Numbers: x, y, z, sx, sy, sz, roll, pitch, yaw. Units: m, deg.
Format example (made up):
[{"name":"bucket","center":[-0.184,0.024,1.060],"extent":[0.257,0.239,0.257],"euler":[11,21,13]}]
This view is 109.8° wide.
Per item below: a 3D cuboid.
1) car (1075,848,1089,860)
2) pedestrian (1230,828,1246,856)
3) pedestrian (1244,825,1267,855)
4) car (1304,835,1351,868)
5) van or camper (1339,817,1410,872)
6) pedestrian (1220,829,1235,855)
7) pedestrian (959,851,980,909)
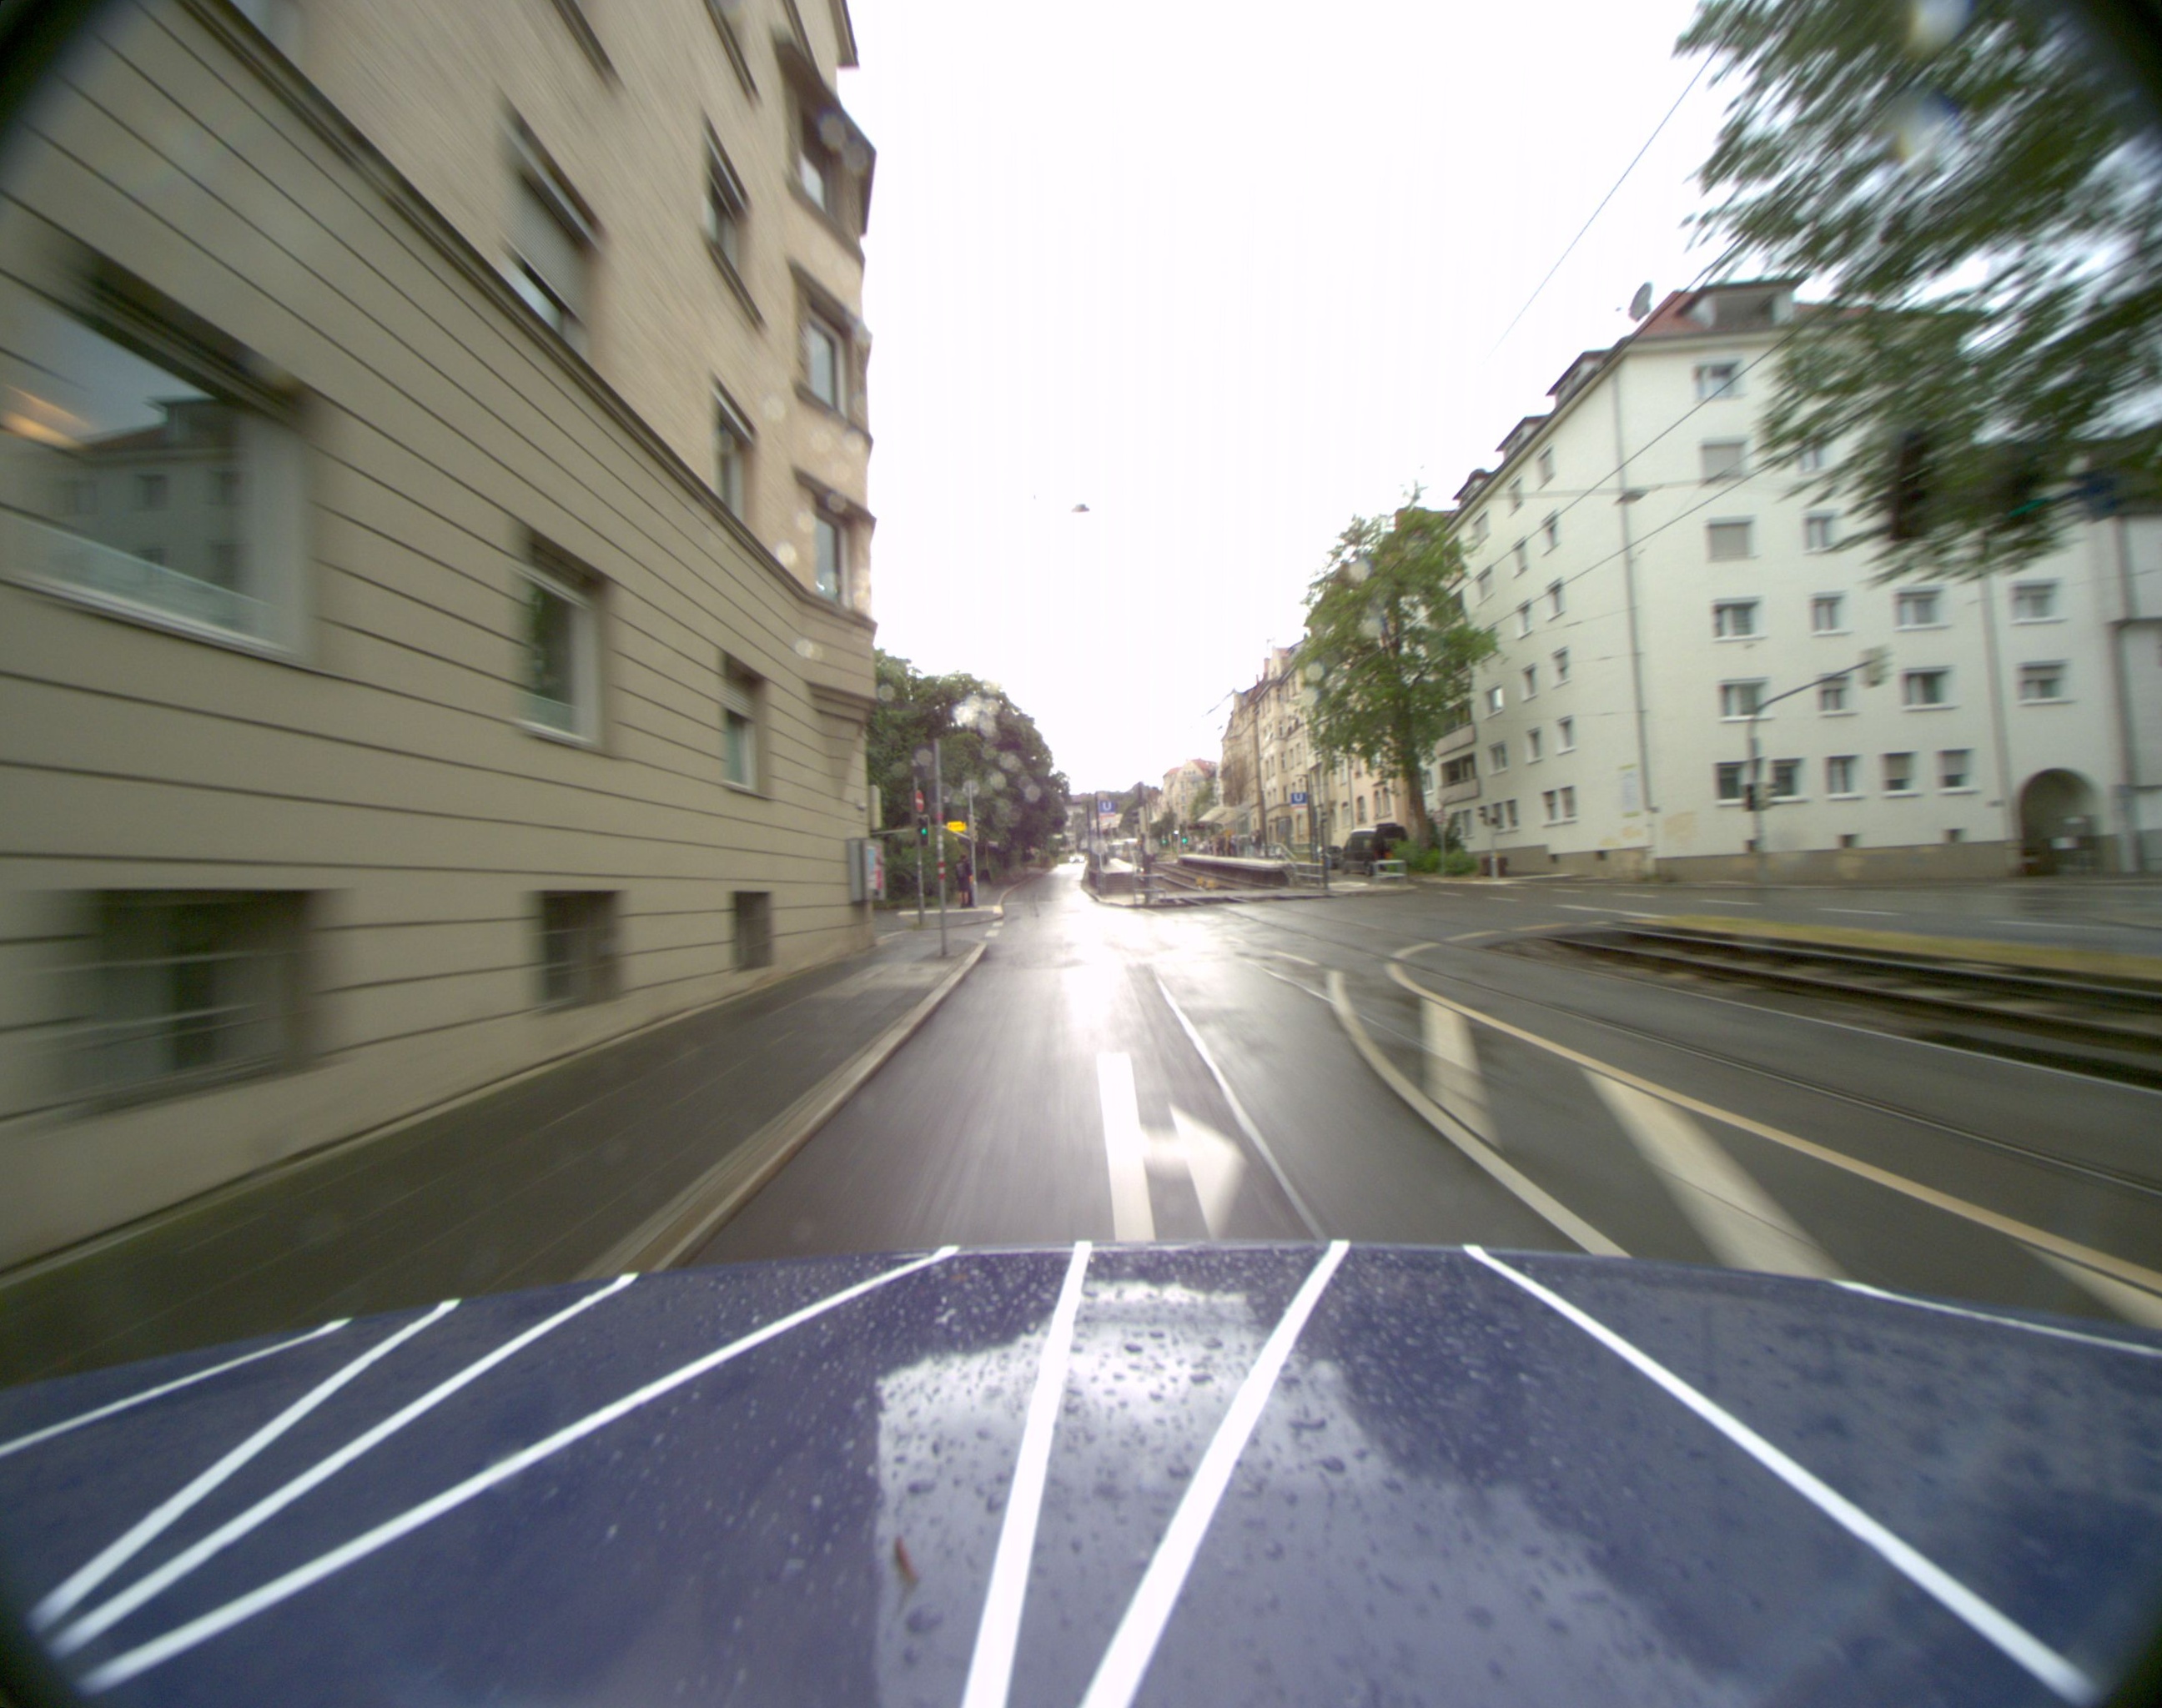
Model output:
[{"name":"car","center":[0.175,-0.041,108.581],"extent":[1.998,1.652,4.000],"euler":[-3,0,1]},{"name":"pedestrian","center":[10.611,-0.837,51.421],"extent":[0.903,1.841,0.860],"euler":[-3,1,3]},{"name":"pedestrian","center":[10.690,-0.834,46.661],"extent":[1.120,1.772,0.965],"euler":[-3,1,2]},{"name":"car","center":[16.577,-0.177,51.308],"extent":[1.998,2.002,4.001],"euler":[-3,0,3]},{"name":"van or camper","center":[16.012,-0.515,41.794],"extent":[1.998,2.782,5.213],"euler":[-2,1,3]},{"name":"pedestrian","center":[10.621,-0.874,55.002],"extent":[0.903,1.841,0.860],"euler":[-3,1,3]},{"name":"pedestrian","center":[-3.783,0.871,25.791],"extent":[0.547,1.904,0.604],"euler":[-3,1,-1]}]
